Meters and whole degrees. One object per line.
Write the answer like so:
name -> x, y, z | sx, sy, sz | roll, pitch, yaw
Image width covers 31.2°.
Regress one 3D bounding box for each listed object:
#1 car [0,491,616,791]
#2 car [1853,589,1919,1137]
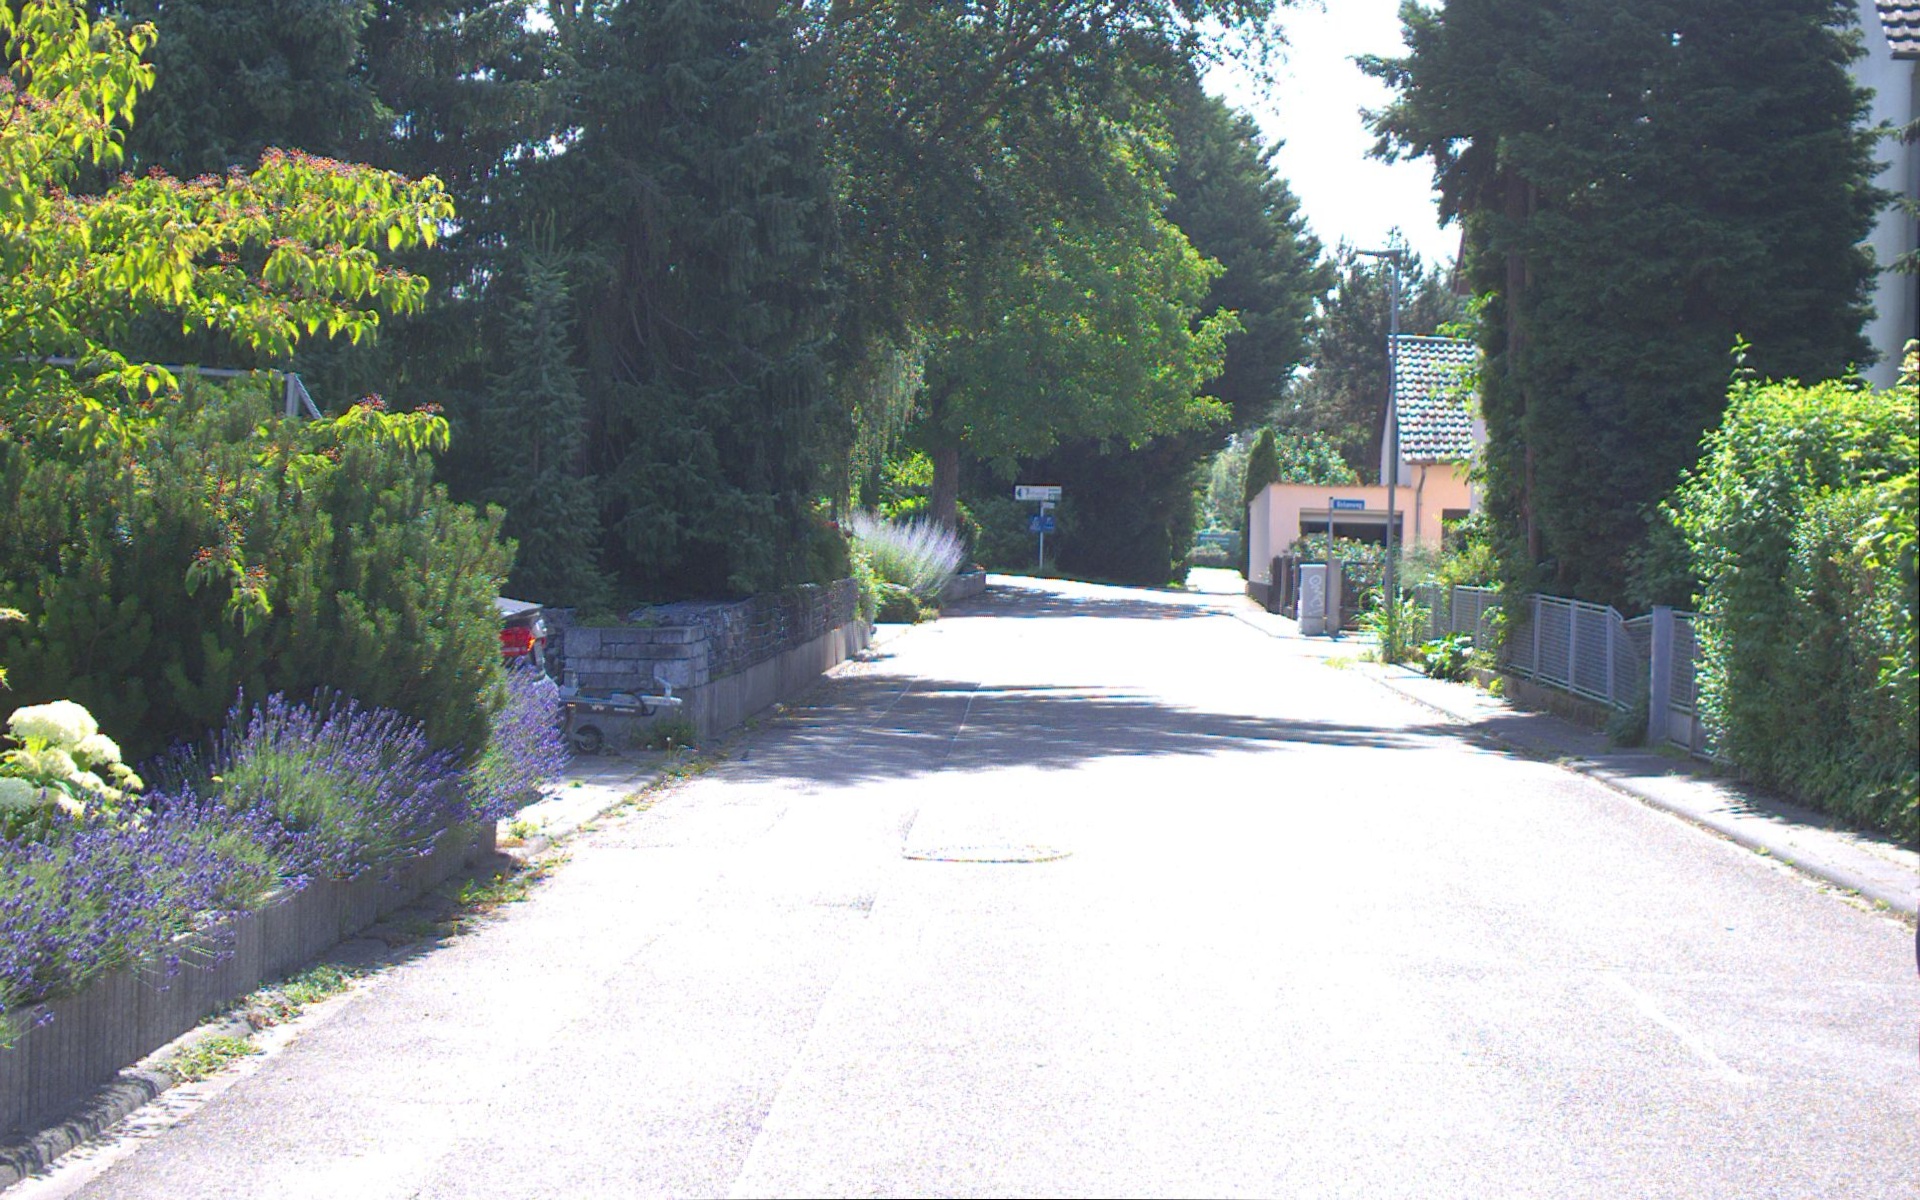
car -> -3.853, 0.184, 18.795 | 3.735, 1.441, 1.756 | 2, 2, 0
car -> 3.334, 0.748, 7.486 | 1.702, 1.395, 4.000 | 3, 1, 1
